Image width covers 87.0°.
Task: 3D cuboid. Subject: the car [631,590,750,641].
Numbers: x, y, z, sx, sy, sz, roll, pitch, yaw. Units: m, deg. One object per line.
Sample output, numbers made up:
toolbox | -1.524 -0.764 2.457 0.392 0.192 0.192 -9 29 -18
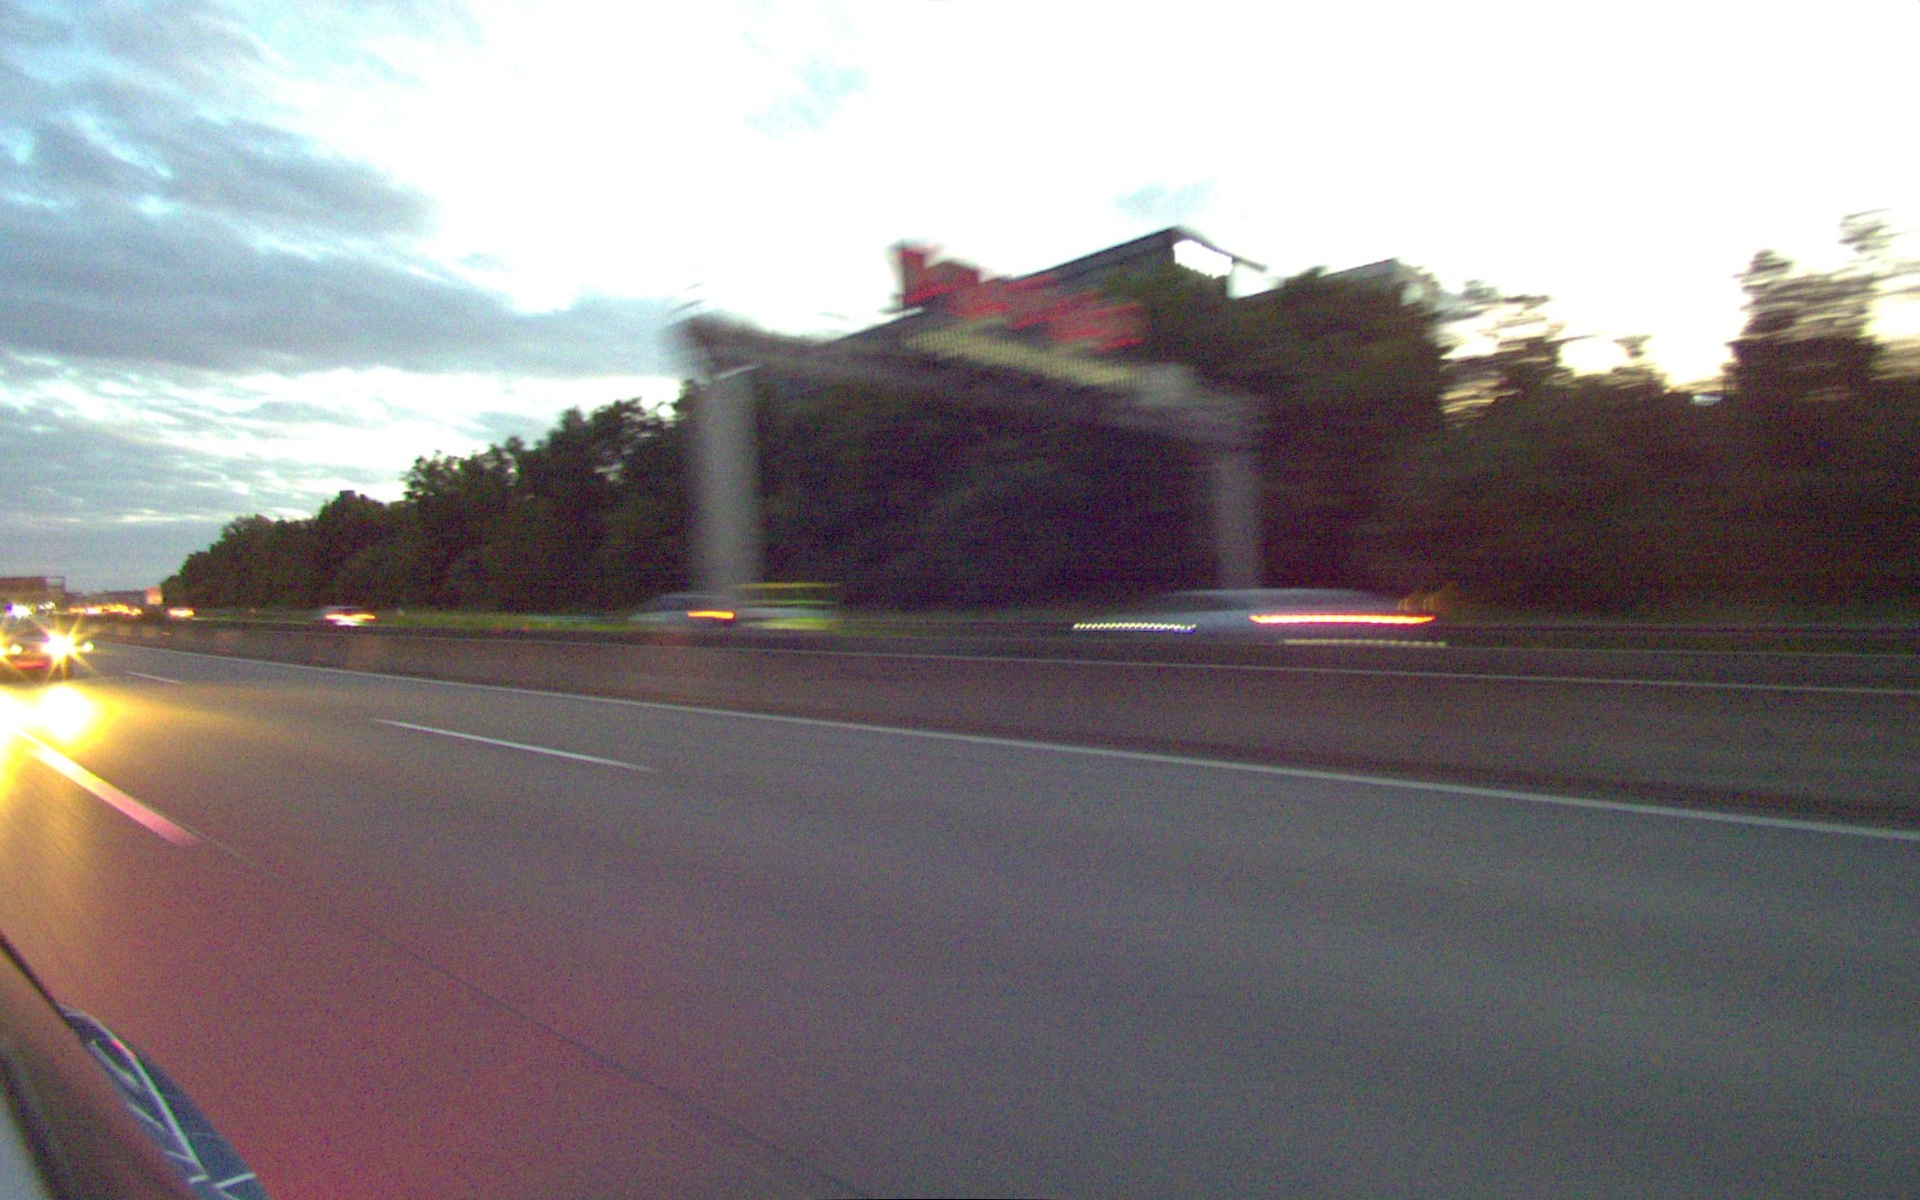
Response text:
car | -10.795 0.577 40.314 5.523 1.881 1.892 0 1 42

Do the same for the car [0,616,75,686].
car | -22.221 1.150 23.792 4.000 1.491 1.694 0 1 43

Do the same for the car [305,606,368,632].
car | -34.773 1.033 56.384 4.896 1.364 1.671 0 1 42

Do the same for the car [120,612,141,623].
car | -126.631 2.653 154.401 4.508 1.516 1.971 0 1 44

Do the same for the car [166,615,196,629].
car | -89.774 2.546 116.590 5.007 1.545 1.972 0 1 44

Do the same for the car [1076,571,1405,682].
car | 5.337 0.454 19.934 6.011 1.881 1.893 -1 1 40

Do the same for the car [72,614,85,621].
car | -178.063 3.580 204.408 1.813 1.346 4.914 -1 1 -44

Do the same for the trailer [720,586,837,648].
trailer | -6.565 0.604 36.328 4.239 2.017 1.893 -1 1 42
